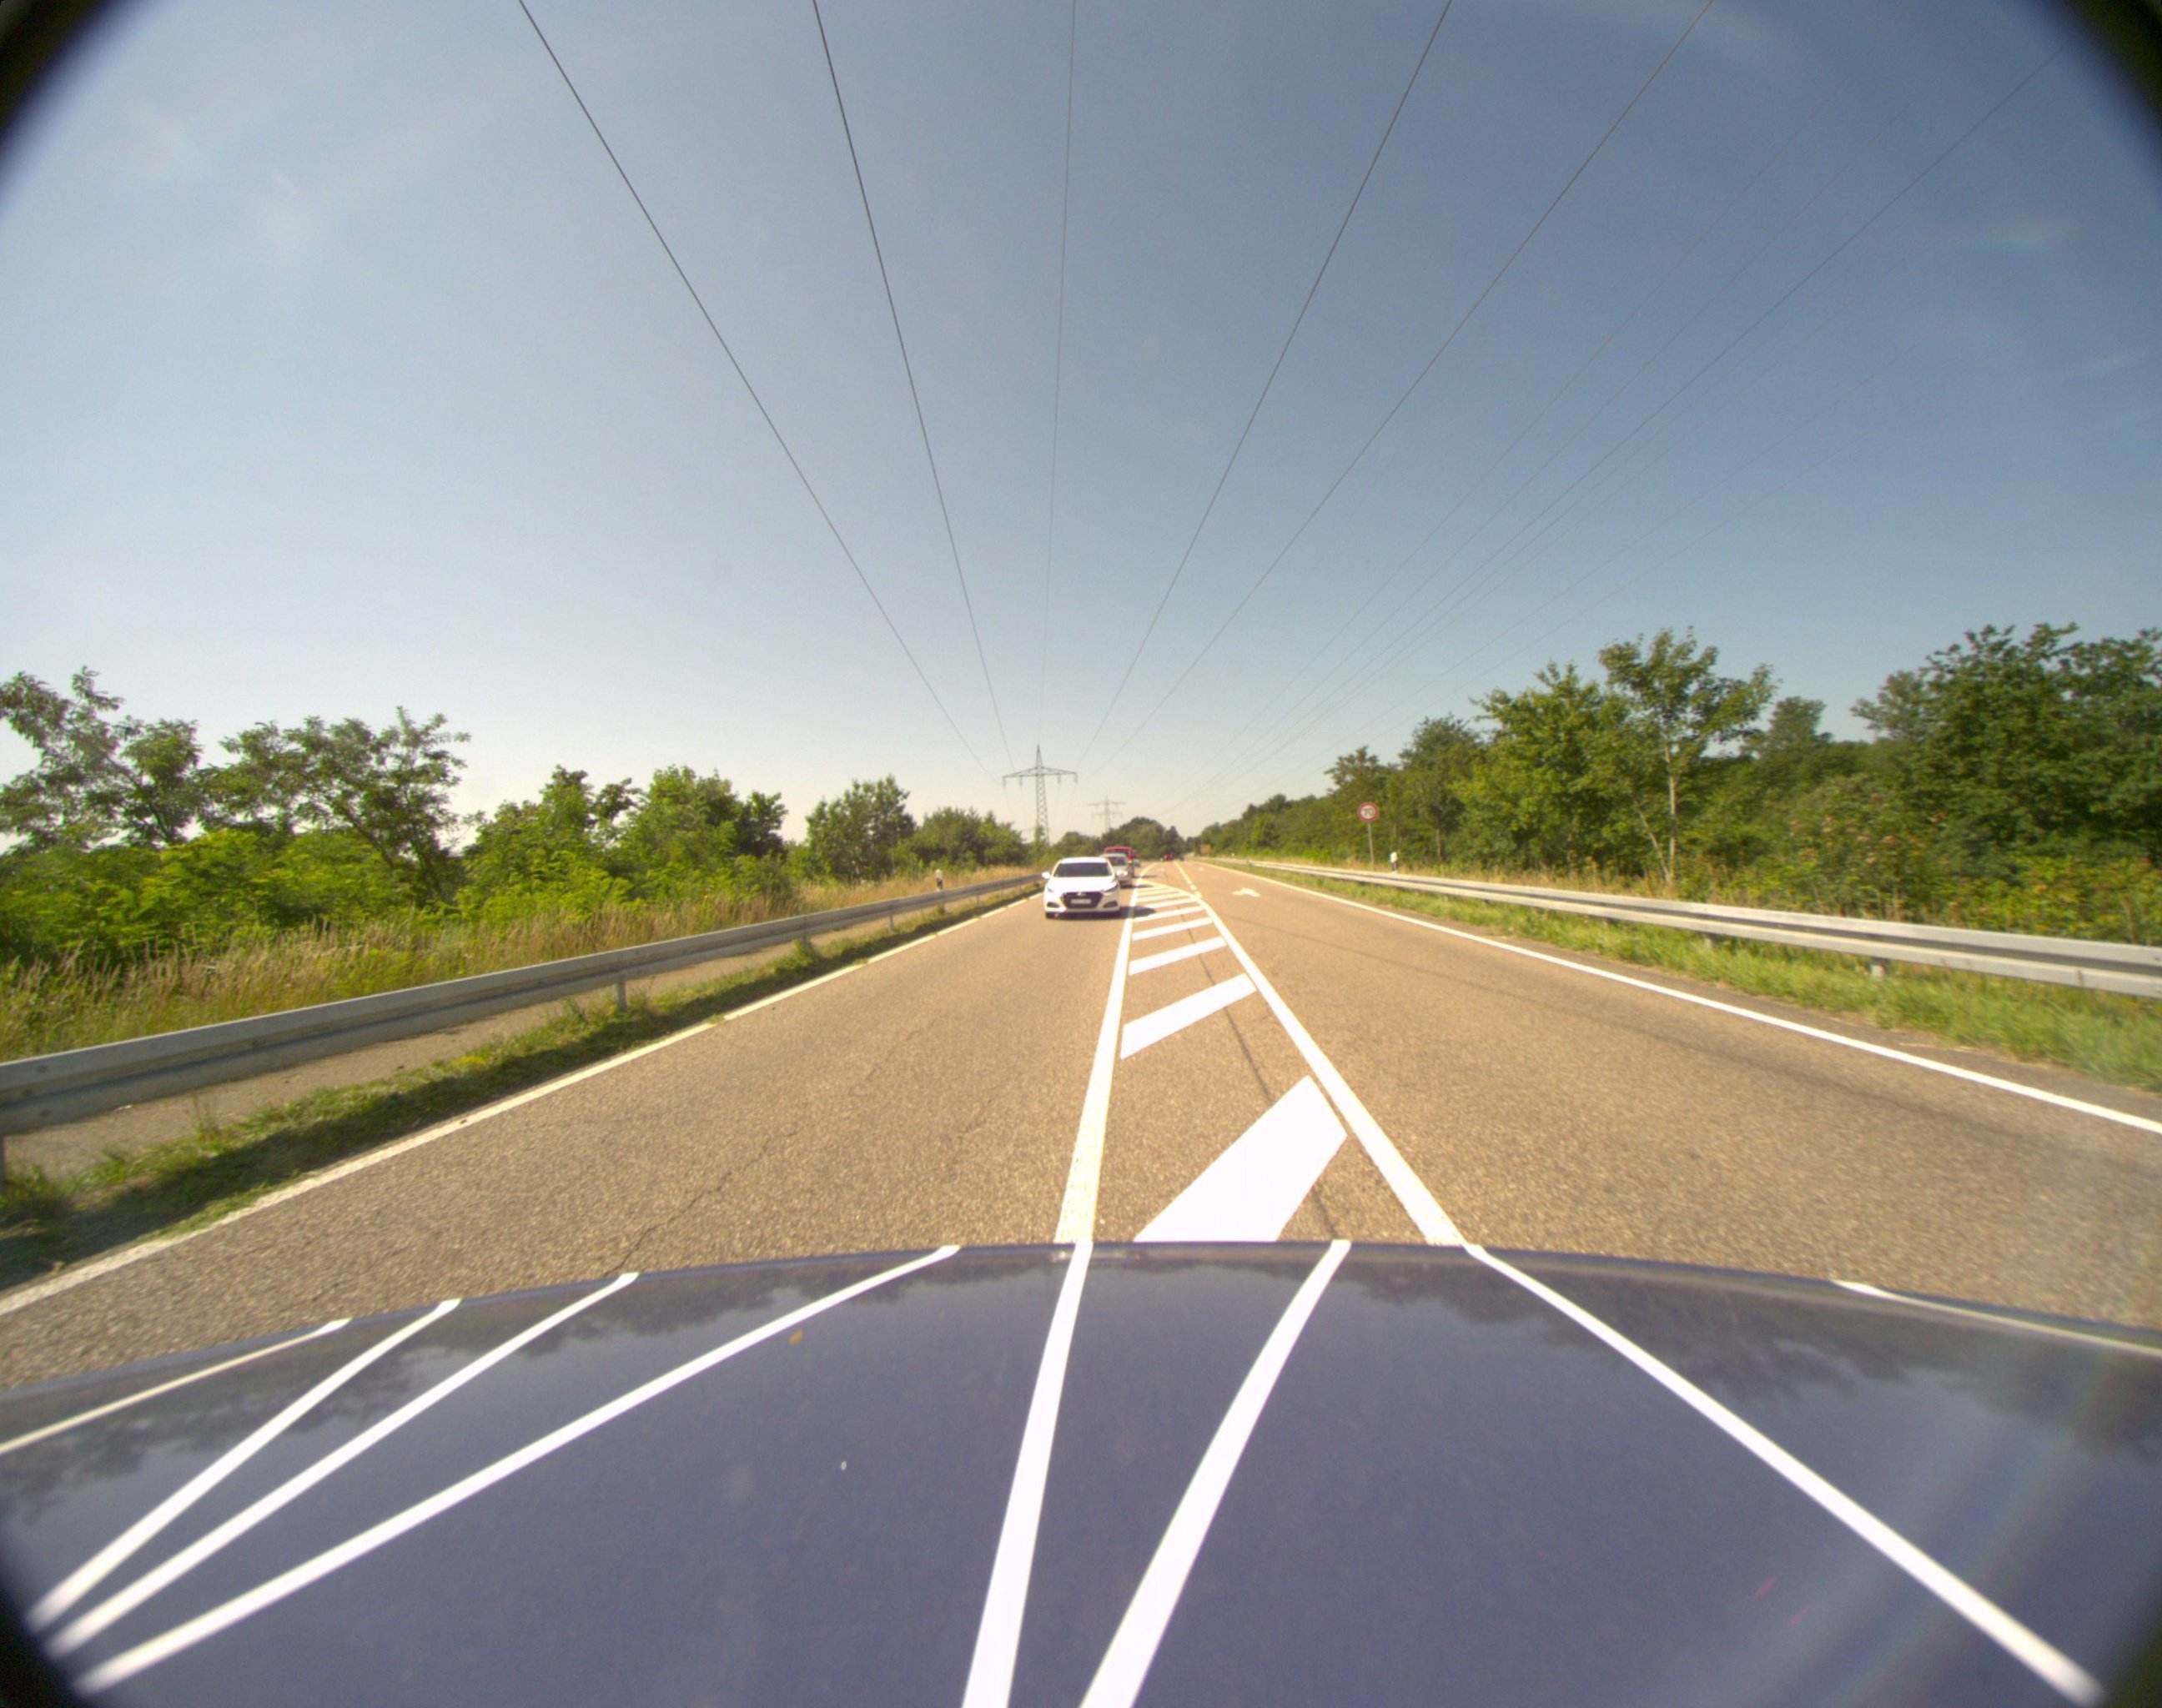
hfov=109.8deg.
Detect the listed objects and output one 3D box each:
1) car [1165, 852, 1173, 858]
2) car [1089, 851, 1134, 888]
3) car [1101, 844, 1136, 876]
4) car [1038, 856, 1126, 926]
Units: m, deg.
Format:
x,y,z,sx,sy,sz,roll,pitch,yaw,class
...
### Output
x,y,z,sx,sy,sz,roll,pitch,yaw,class
21.087,0.256,182.434,1.832,1.574,4.001,0,0,5,car
1.467,0.655,35.368,1.922,1.540,4.794,-2,0,4,car
2.503,0.382,50.165,2.125,1.934,5.020,-2,0,3,car
0.164,0.843,19.668,1.922,1.496,4.794,-2,0,4,car
